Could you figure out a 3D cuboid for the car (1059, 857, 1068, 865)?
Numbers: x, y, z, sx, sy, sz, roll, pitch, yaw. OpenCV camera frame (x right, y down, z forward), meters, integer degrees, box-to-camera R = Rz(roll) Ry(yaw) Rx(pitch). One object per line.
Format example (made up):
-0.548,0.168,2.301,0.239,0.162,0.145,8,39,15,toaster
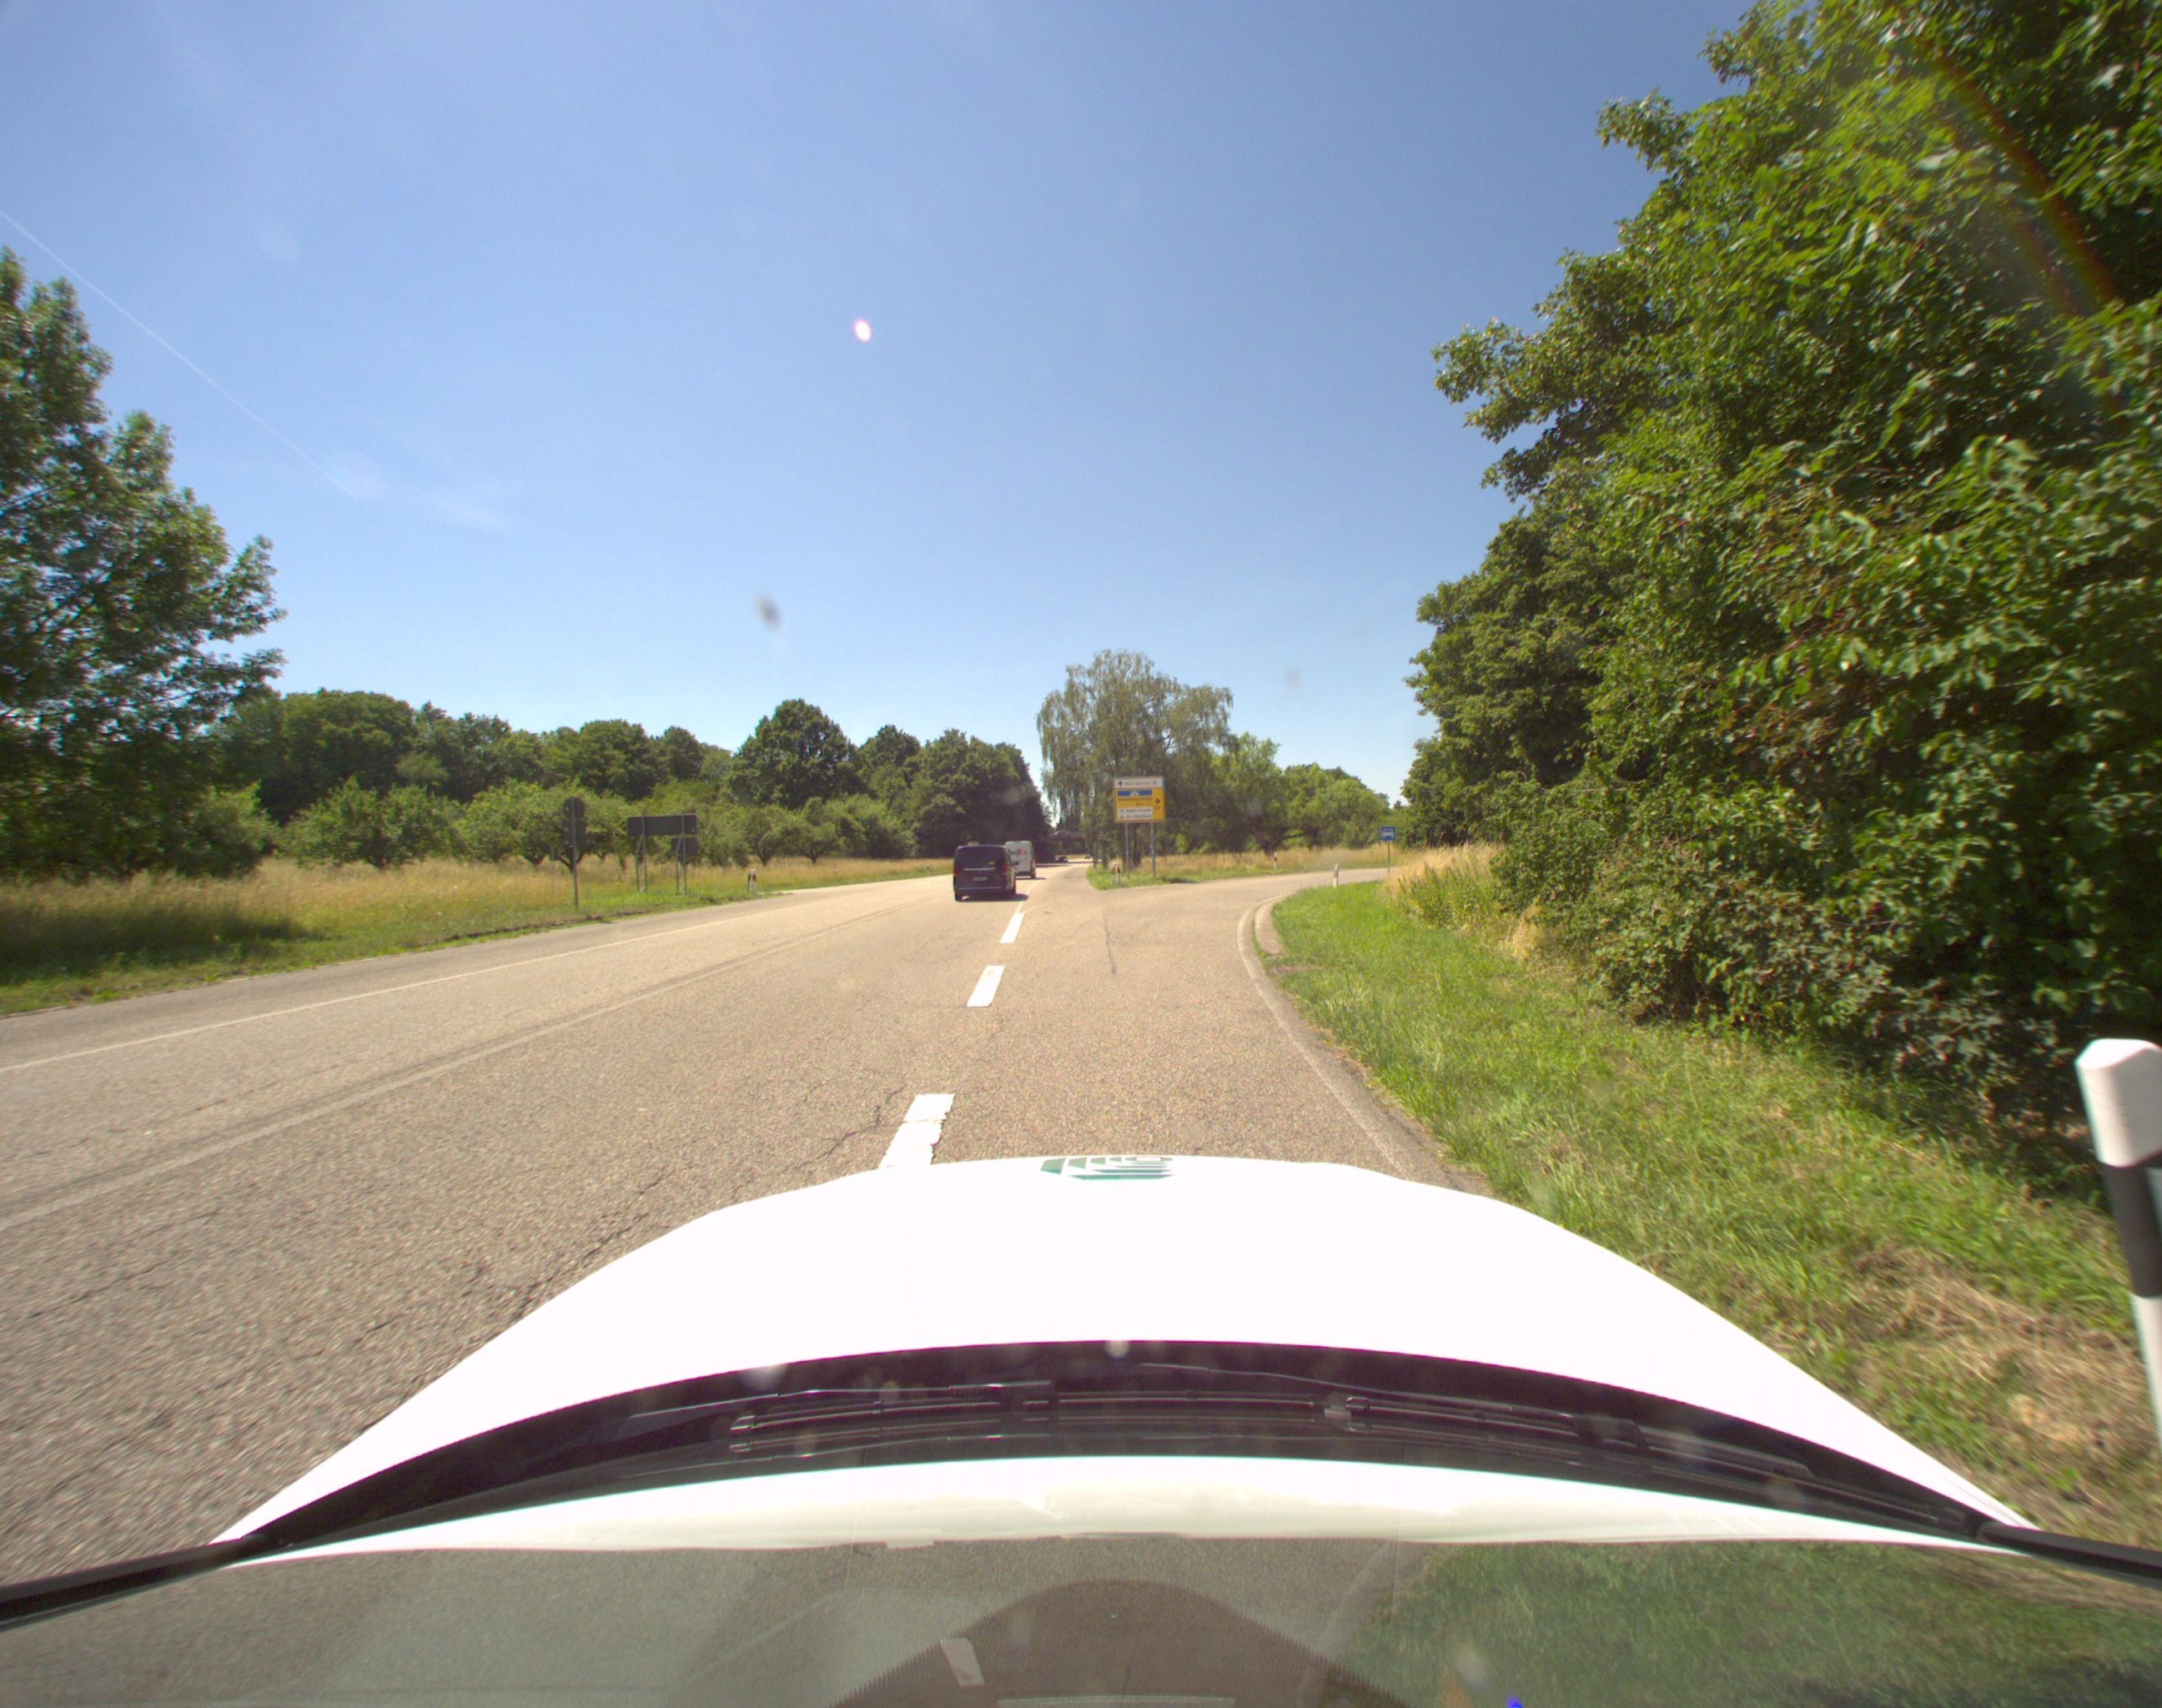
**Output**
-4.388,1.738,203.912,1.988,2.013,3.997,1,0,-2,car

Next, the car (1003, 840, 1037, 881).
-4.161,0.435,56.546,2.072,2.702,4.664,0,0,-1,car

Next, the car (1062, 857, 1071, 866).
-3.330,1.625,188.860,1.988,2.013,3.997,1,0,-2,car

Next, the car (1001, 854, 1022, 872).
-8.215,1.050,96.557,1.987,2.013,4.000,1,0,0,car

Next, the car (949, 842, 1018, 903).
-3.326,0.591,28.739,1.988,1.952,5.000,0,0,-2,car
